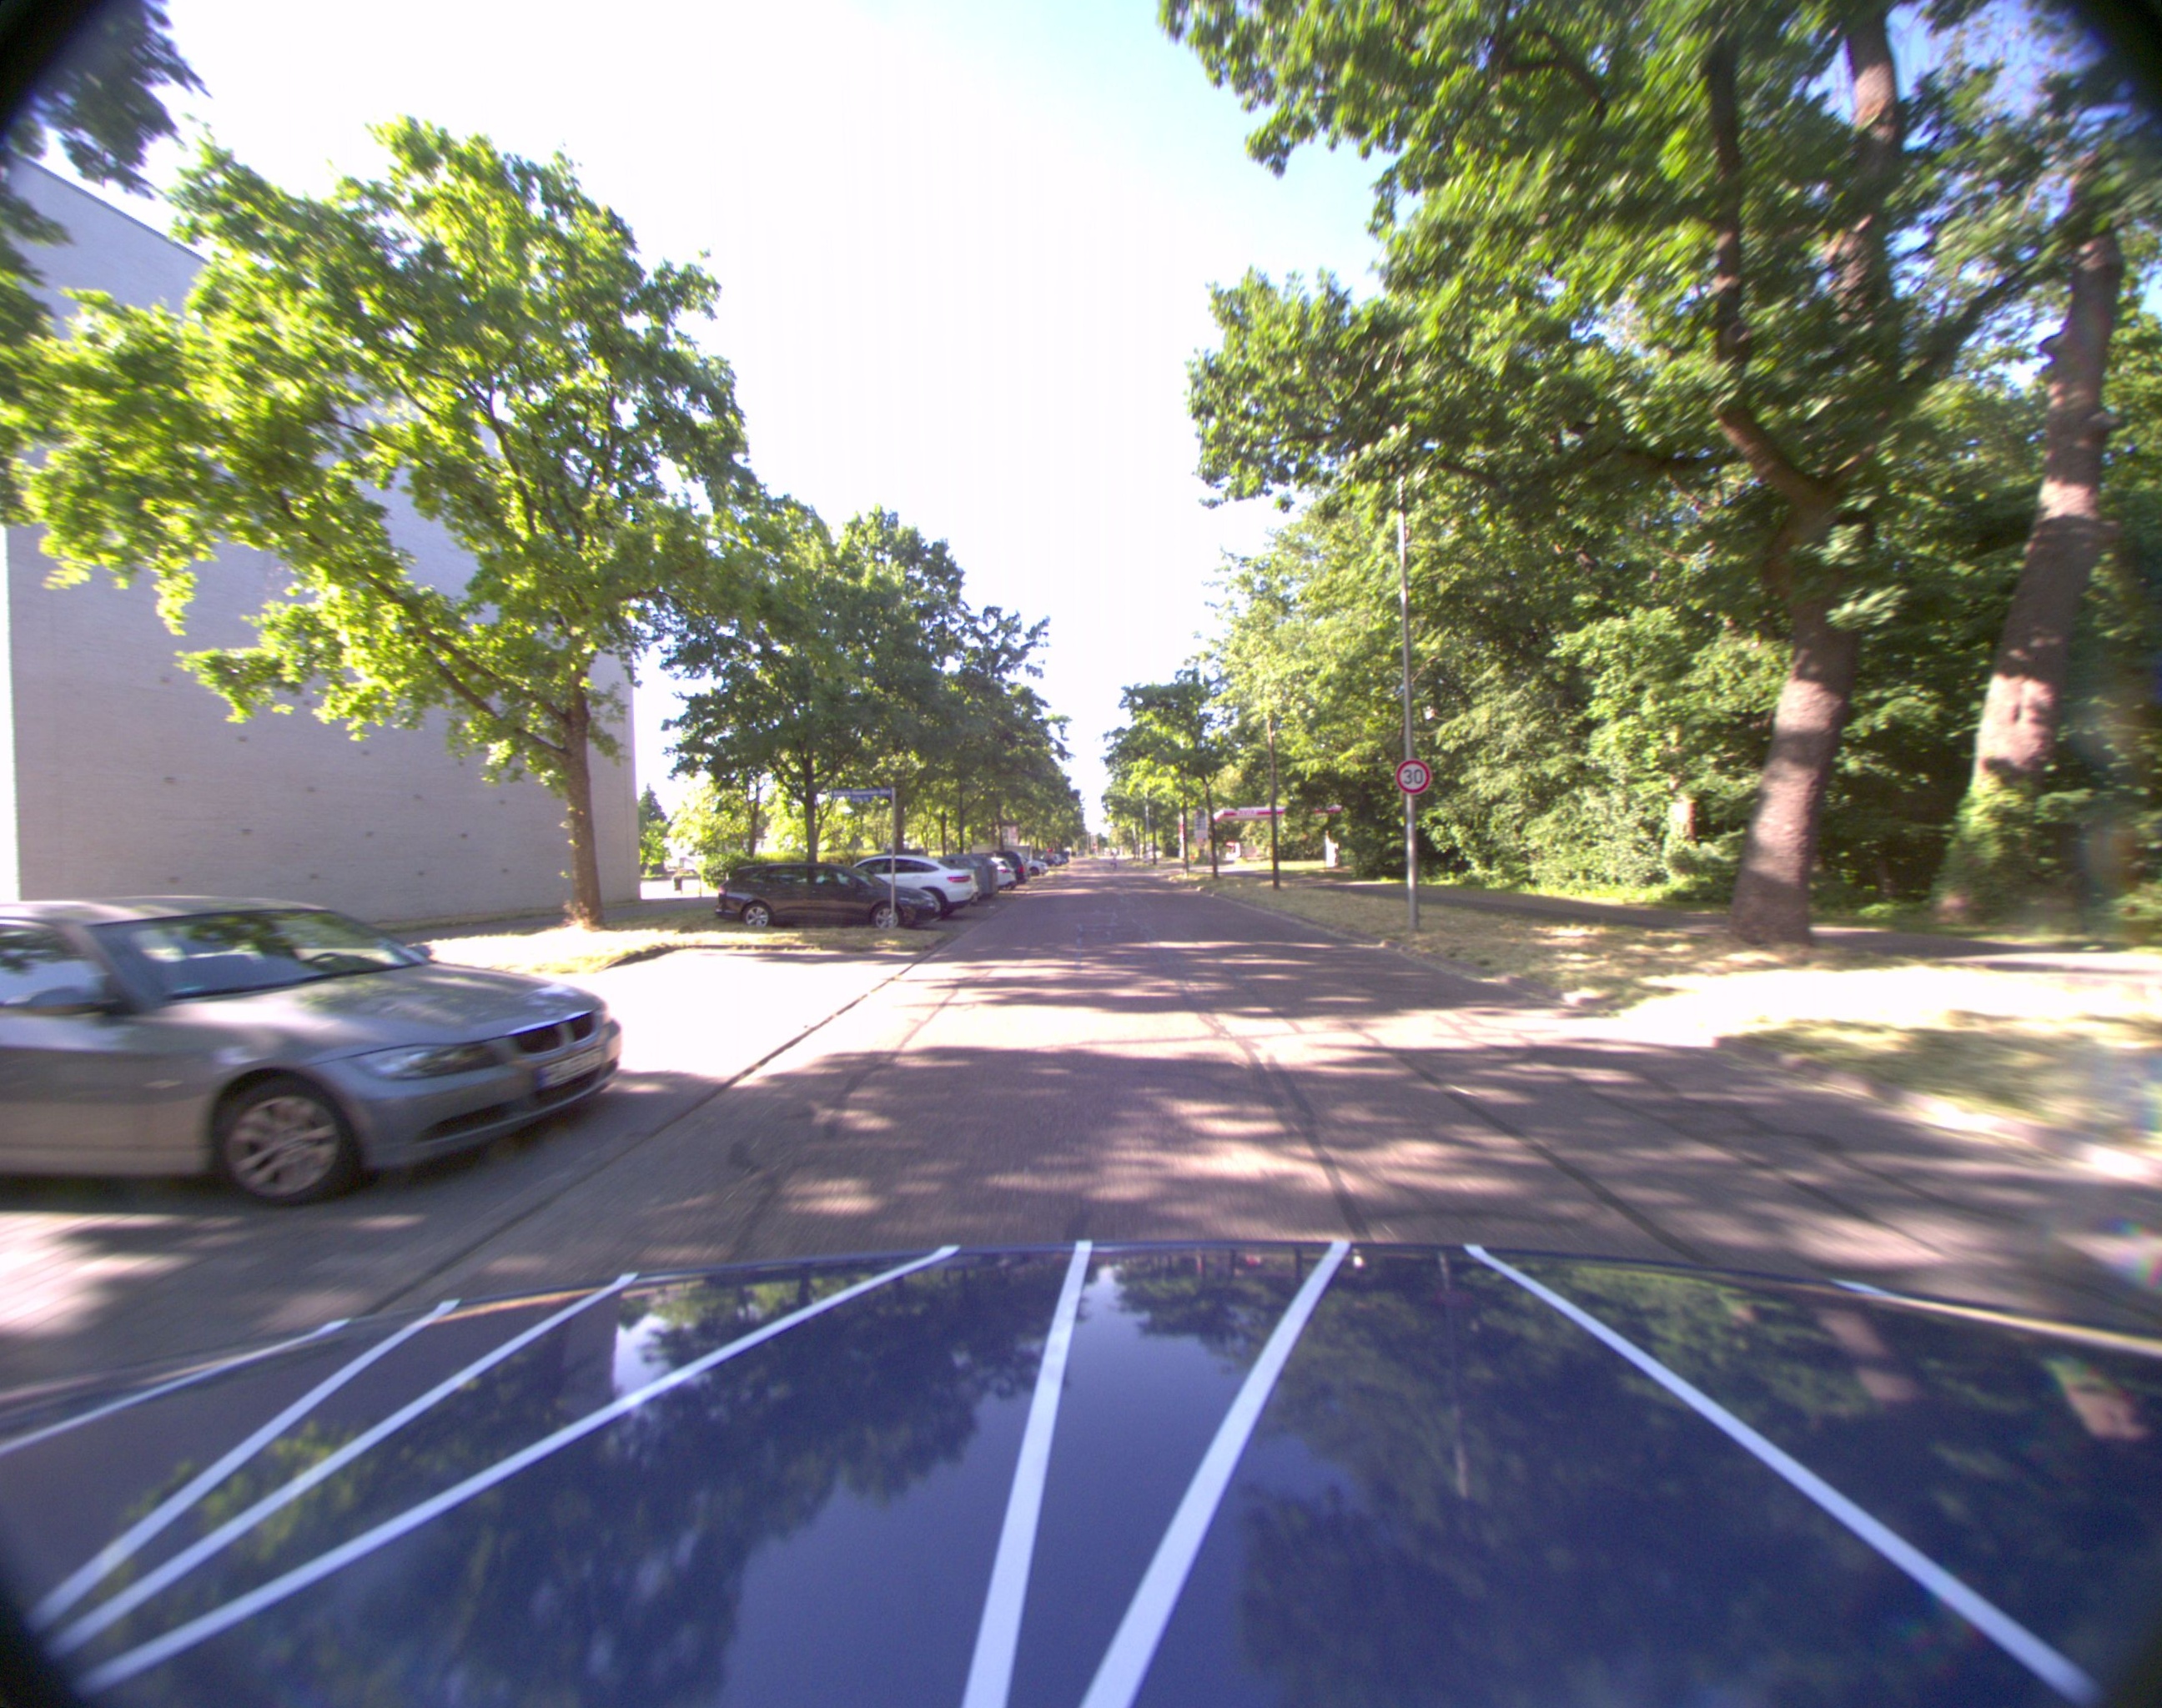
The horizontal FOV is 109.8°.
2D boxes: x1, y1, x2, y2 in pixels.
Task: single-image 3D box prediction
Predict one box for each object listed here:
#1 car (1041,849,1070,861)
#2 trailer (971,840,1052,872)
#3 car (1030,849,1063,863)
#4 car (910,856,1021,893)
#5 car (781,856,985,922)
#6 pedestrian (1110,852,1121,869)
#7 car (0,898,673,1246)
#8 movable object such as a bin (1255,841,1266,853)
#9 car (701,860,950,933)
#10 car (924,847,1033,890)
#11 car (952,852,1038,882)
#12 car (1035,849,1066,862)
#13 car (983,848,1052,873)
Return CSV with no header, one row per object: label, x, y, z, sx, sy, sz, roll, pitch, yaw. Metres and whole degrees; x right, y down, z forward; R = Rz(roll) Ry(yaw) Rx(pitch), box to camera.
car,-3.156,0.085,95.404,3.529,1.523,1.665,0,1,2
trailer,-5.070,0.155,56.067,5.788,2.304,1.686,0,1,3
car,-3.904,0.184,85.807,3.592,1.567,1.857,0,1,0
car,-4.688,0.829,31.215,4.231,1.463,1.800,0,1,2
car,-4.933,0.853,19.405,4.682,1.571,1.917,0,1,1
pedestrian,3.073,0.568,67.869,0.942,1.491,0.885,0,1,2
car,-5.055,1.030,4.279,4.456,1.382,1.911,-1,1,1
movable object such as a bin,24.565,-0.940,104.018,1.307,1.533,1.268,-2,1,1
car,-5.342,0.874,16.346,4.682,1.447,1.916,0,1,0
car,-4.467,0.621,33.743,4.541,1.791,1.936,0,1,1
car,-4.484,0.684,40.326,4.255,1.510,2.078,0,1,2
car,-3.605,0.141,90.737,3.592,1.567,1.786,0,1,2
car,-4.426,0.451,53.285,4.653,1.712,1.987,0,1,2
